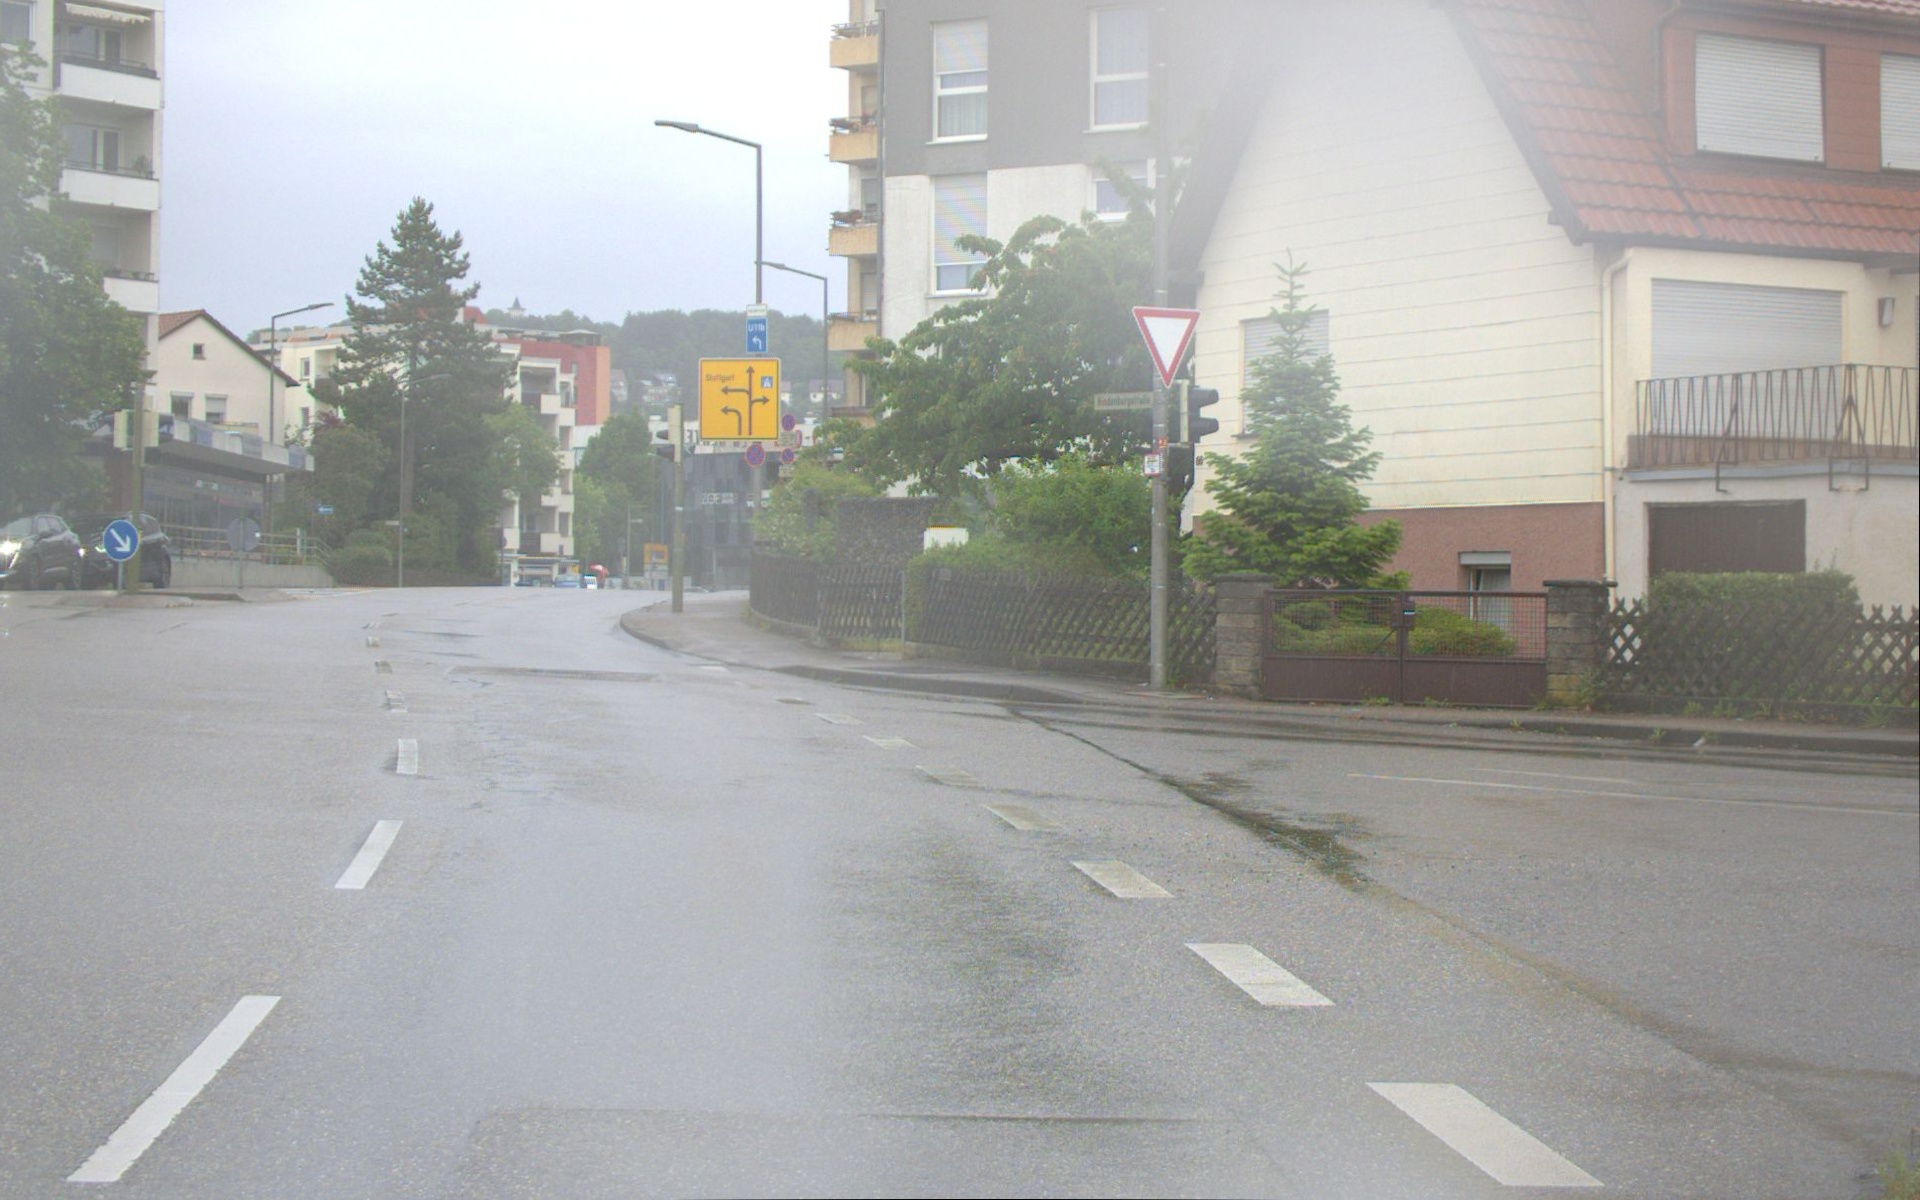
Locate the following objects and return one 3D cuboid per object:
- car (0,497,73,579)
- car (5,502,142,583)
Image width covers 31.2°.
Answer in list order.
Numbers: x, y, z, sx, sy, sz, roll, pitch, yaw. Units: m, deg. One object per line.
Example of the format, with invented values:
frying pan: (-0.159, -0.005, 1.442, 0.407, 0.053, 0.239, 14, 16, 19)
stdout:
car: (-18.400, -1.184, 65.763, 1.967, 1.507, 4.000, 1, 1, -2)
car: (-18.333, -1.182, 71.265, 1.879, 1.592, 4.185, 1, 1, -2)
